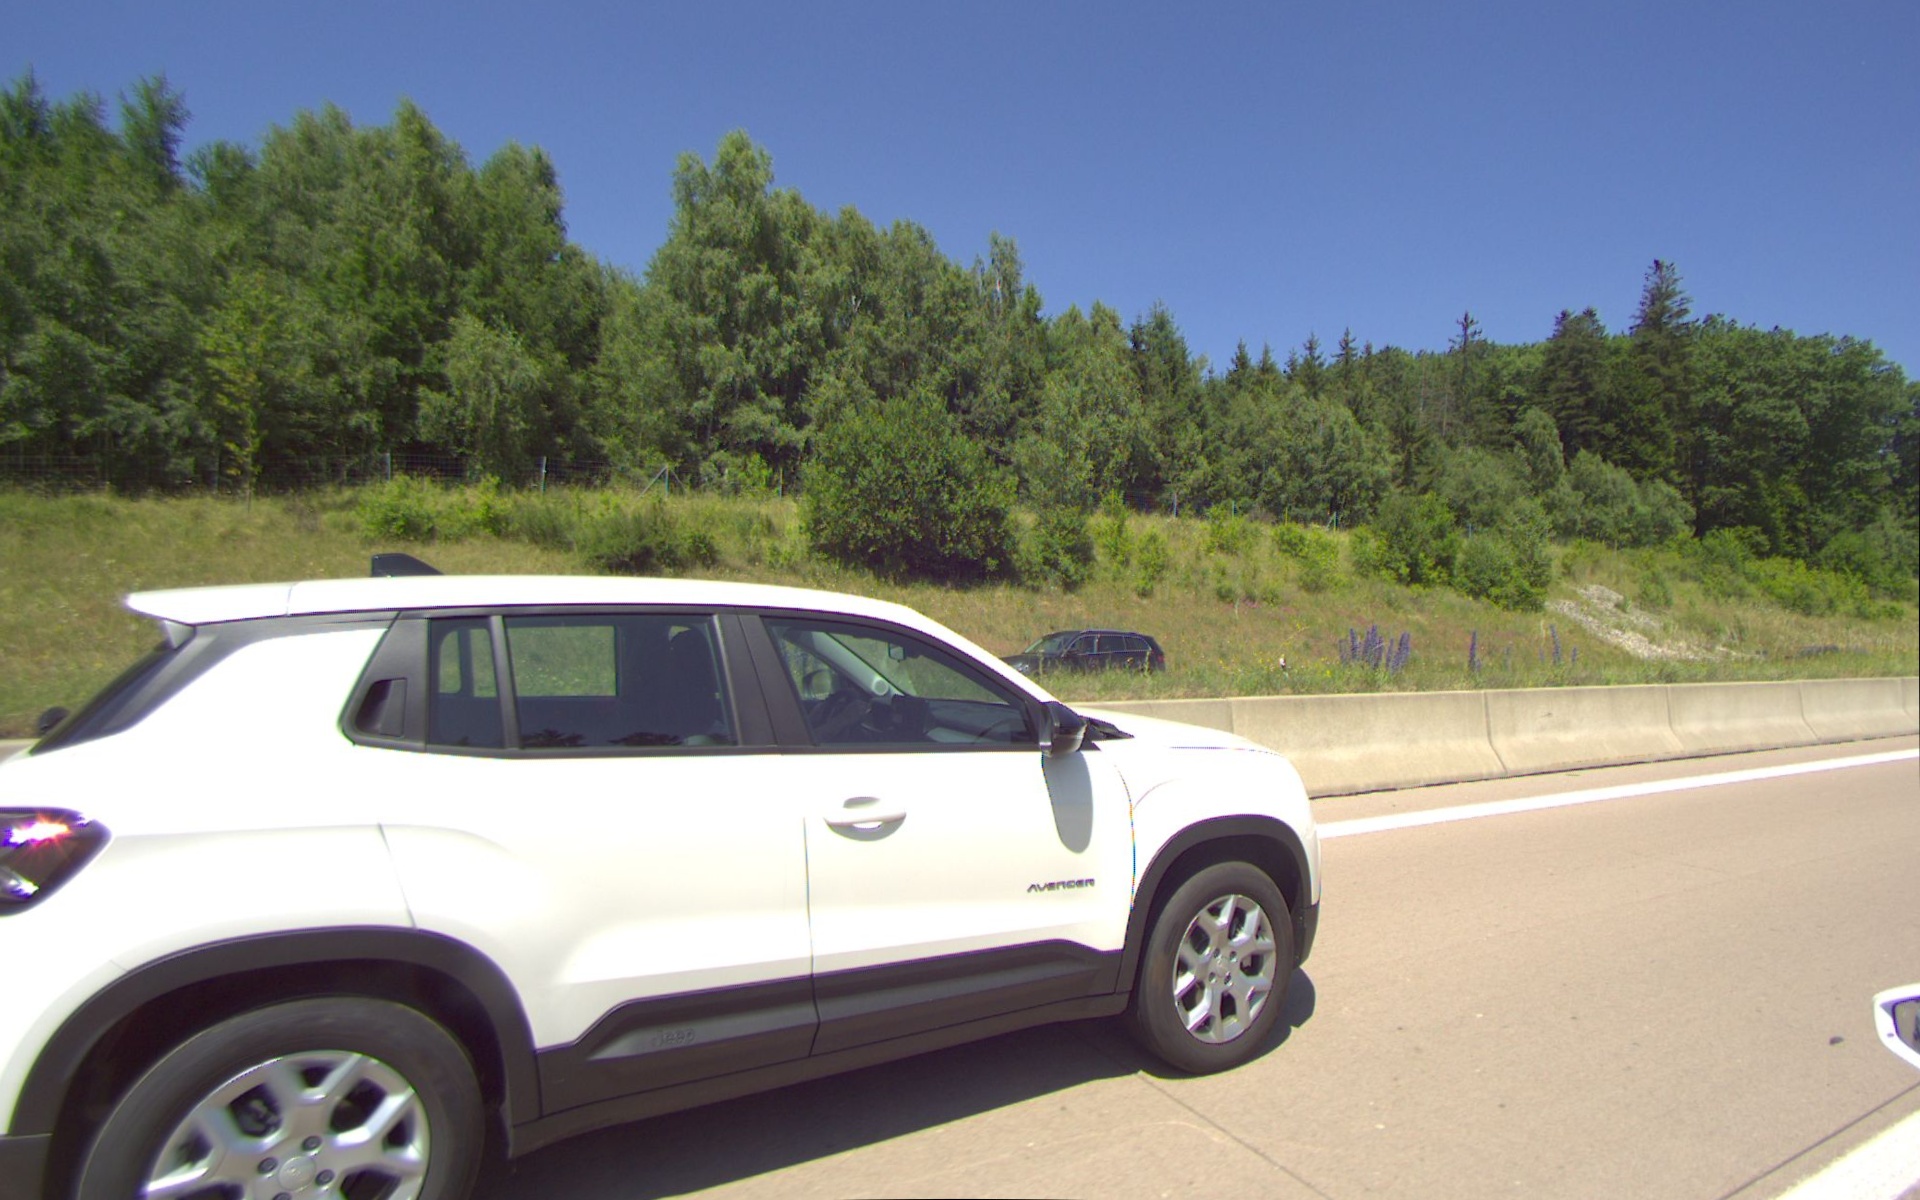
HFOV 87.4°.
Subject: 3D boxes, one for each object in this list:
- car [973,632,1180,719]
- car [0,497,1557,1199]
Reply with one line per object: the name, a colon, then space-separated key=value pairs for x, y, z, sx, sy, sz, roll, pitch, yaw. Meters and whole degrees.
car: x=2.647 y=1.619 z=22.519 sx=4.415 sy=1.761 sz=1.880 roll=2 pitch=-1 yaw=-32
car: x=-0.159 y=0.708 z=3.572 sx=4.778 sy=1.628 sz=1.870 roll=2 pitch=-1 yaw=-31
